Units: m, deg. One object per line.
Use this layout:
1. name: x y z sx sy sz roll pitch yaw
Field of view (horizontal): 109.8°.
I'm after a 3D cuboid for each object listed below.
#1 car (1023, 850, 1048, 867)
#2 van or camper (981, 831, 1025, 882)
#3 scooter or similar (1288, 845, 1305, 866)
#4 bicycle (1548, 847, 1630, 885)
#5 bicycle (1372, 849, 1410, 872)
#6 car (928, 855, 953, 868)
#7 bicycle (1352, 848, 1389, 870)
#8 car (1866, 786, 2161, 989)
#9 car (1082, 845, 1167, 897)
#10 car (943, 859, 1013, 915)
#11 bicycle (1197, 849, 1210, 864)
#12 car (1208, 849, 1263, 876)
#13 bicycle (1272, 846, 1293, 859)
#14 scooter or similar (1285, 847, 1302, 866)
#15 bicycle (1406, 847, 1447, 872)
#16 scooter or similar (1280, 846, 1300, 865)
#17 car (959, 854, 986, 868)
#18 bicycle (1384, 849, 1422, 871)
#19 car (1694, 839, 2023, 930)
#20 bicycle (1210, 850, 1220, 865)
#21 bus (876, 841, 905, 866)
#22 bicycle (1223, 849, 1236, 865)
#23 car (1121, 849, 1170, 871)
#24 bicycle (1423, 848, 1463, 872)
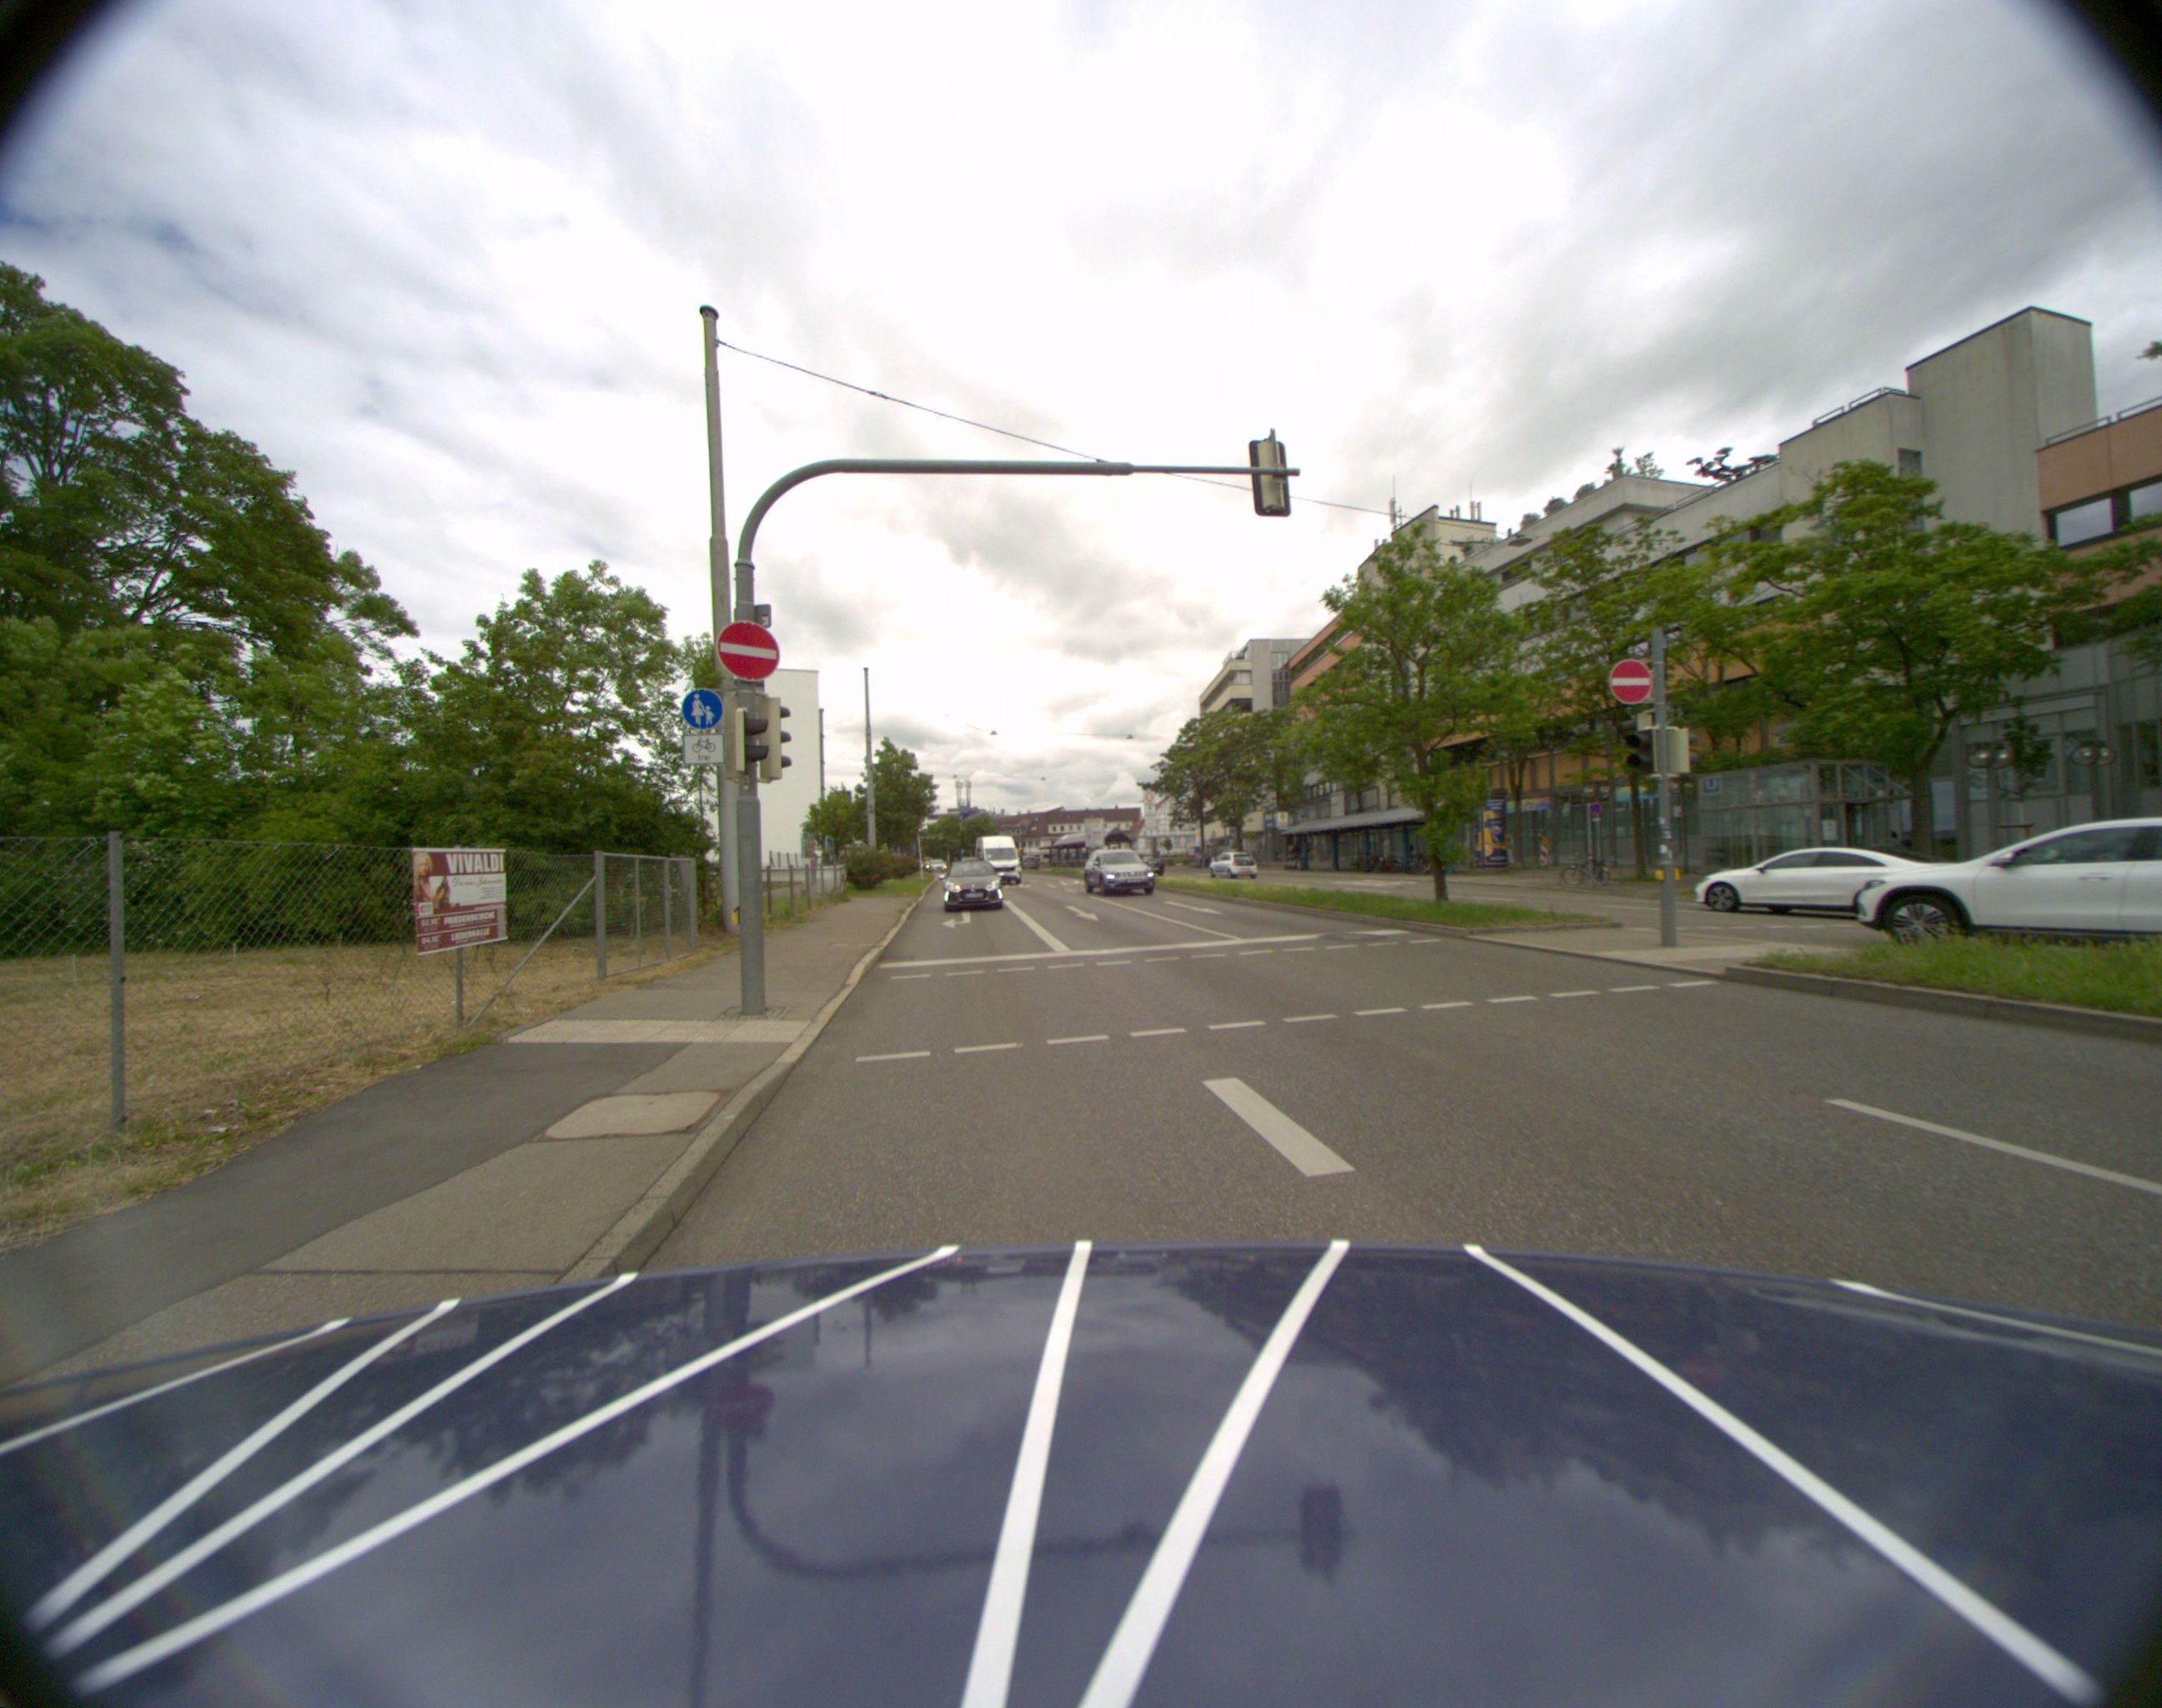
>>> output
1. car: -4.504 0.457 74.719 2.000 1.565 4.512 -1 1 -8
2. van or camper: -4.428 0.162 44.100 2.280 2.690 6.993 -1 -1 -5
3. scooter or similar: 14.890 0.104 52.544 1.206 1.377 0.222 -2 1 -17
4. bicycle: 18.835 0.426 28.277 1.055 1.263 2.422 -4 1 -13
5. bicycle: 17.316 0.348 42.464 2.074 1.147 0.710 -3 1 -25
6. car: -15.414 0.809 83.240 2.002 1.368 3.992 -2 1 -21
7. bicycle: 16.992 0.272 44.596 2.074 1.147 0.710 -5 2 -25
8. car: 11.596 0.312 8.020 2.001 2.002 4.174 -1 1 -13
9. car: 1.503 0.583 28.049 2.000 1.640 4.389 -3 0 -11
10. car: -3.270 0.966 23.497 1.865 1.516 3.996 -1 -1 -11
11. bicycle: 10.174 0.196 62.930 0.625 1.246 1.686 -1 1 23
12. car: 9.136 0.458 45.354 1.753 1.509 3.995 -2 1 -12
13. bicycle: 20.252 -0.161 76.334 1.971 1.312 0.706 -1 1 6
14. scooter or similar: 14.772 0.164 52.795 1.132 1.288 0.267 -2 1 -18
15. bicycle: 18.335 0.294 40.311 2.073 1.147 0.710 -5 2 -25
16. scooter or similar: 14.617 0.126 53.124 1.326 1.262 0.339 -3 1 -17
17. car: -11.569 0.723 80.632 2.002 1.368 3.993 -2 1 -21
18. bicycle: 17.646 0.327 41.661 2.074 1.147 0.710 -2 1 -25
19. car: 15.625 0.519 15.686 1.739 1.565 4.501 -1 1 -13
20. bicycle: 11.374 0.263 64.376 0.431 1.246 1.473 -1 1 26
21. bus: -26.590 0.062 105.801 2.724 3.089 8.856 6 -3 -19
22. bicycle: 12.258 0.221 62.635 0.625 1.246 1.686 -1 1 23
23. car: 4.289 0.393 51.291 1.820 1.390 5.005 0 0 -13
24. bicycle: 18.732 0.316 39.299 2.074 1.147 0.710 -3 1 -25
